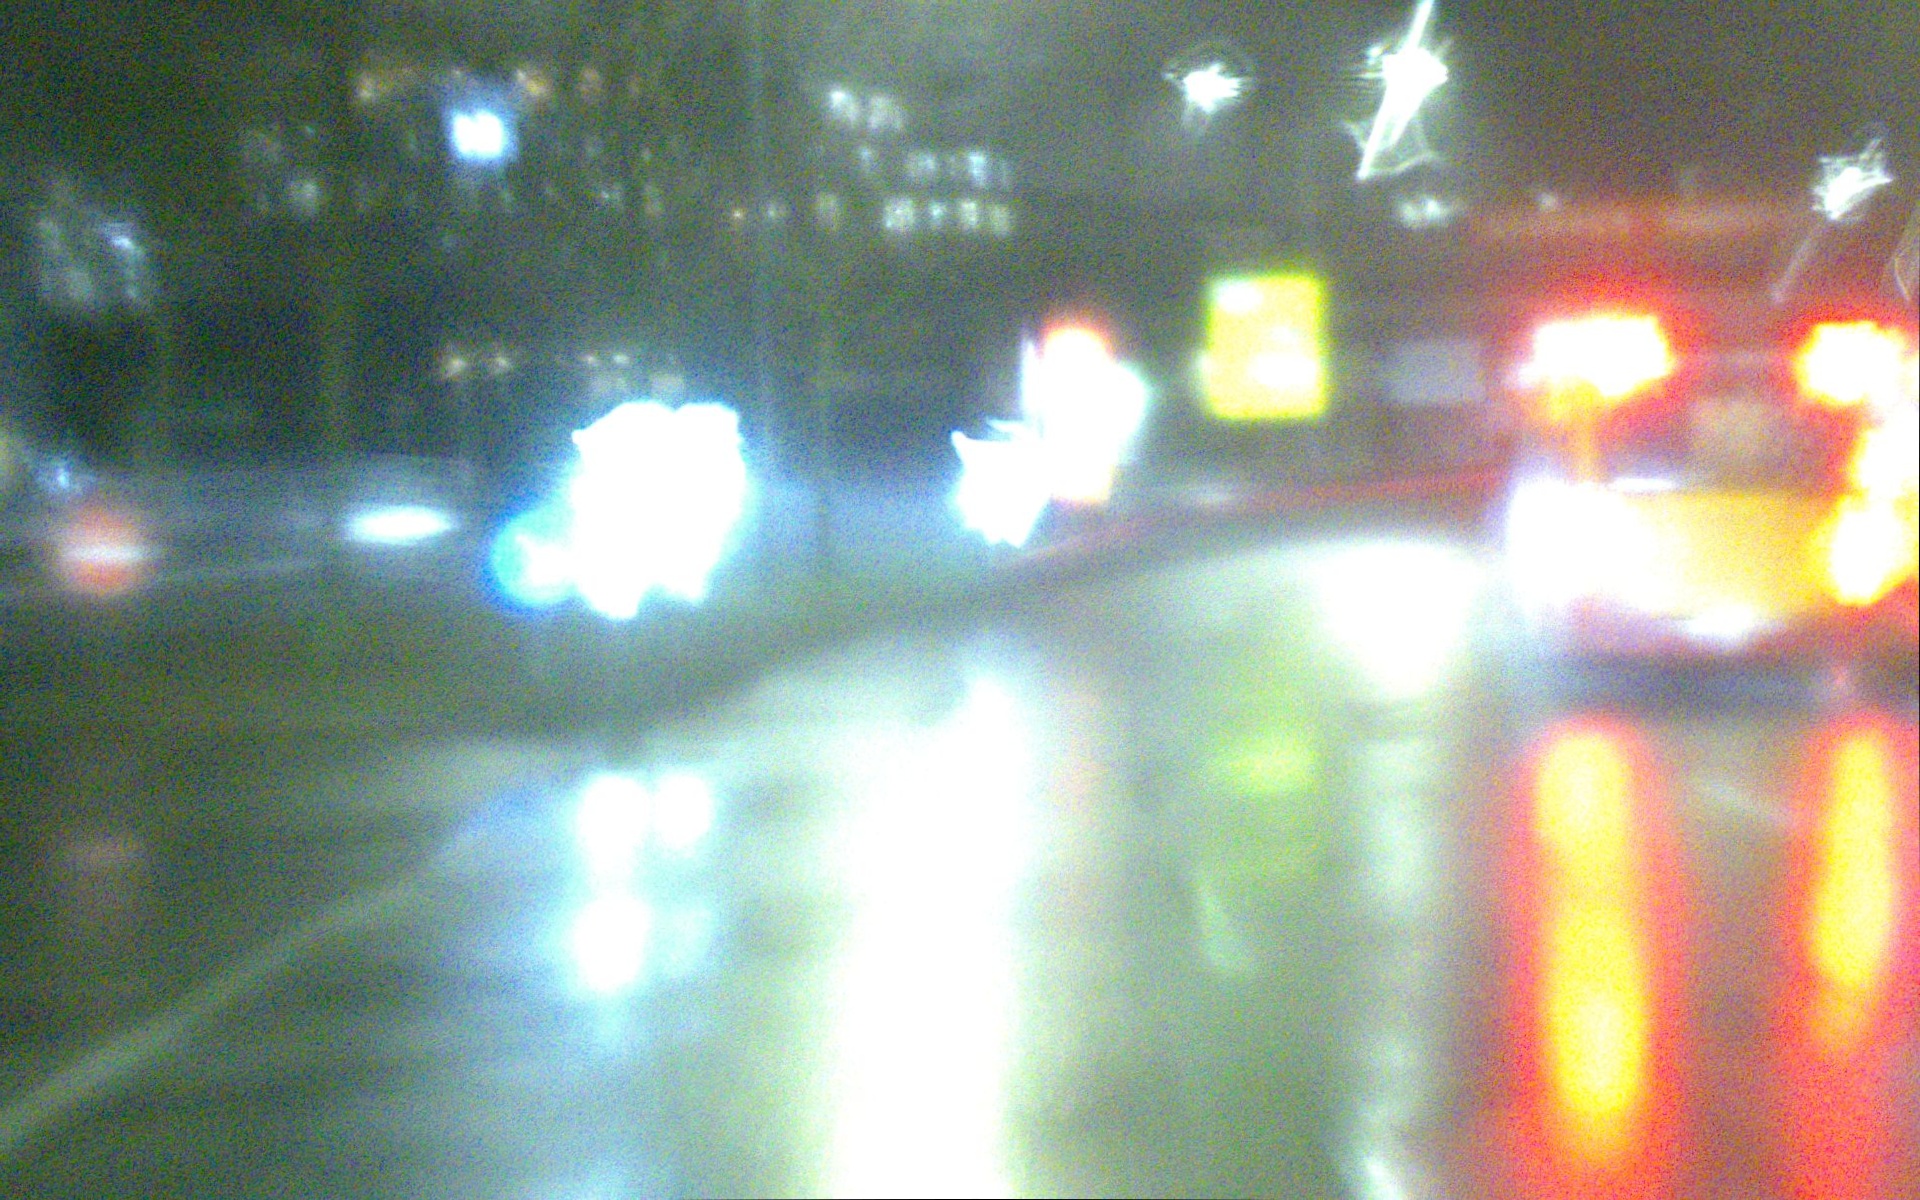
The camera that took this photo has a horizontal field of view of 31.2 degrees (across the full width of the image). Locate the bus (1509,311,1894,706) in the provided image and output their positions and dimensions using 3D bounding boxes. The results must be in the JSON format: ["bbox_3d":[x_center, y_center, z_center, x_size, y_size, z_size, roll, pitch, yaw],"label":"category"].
[{"bbox_3d":[6.770,-0.875,32.628,3.044,3.201,9.047,0,2,9],"label":"bus"}]

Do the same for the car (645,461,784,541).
[{"bbox_3d":[-5.129,-2.099,72.337,1.994,1.588,3.999,0,3,10],"label":"car"}]

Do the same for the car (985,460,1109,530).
[{"bbox_3d":[2.013,-2.392,77.859,1.867,1.458,4.637,-2,2,13],"label":"car"}]
